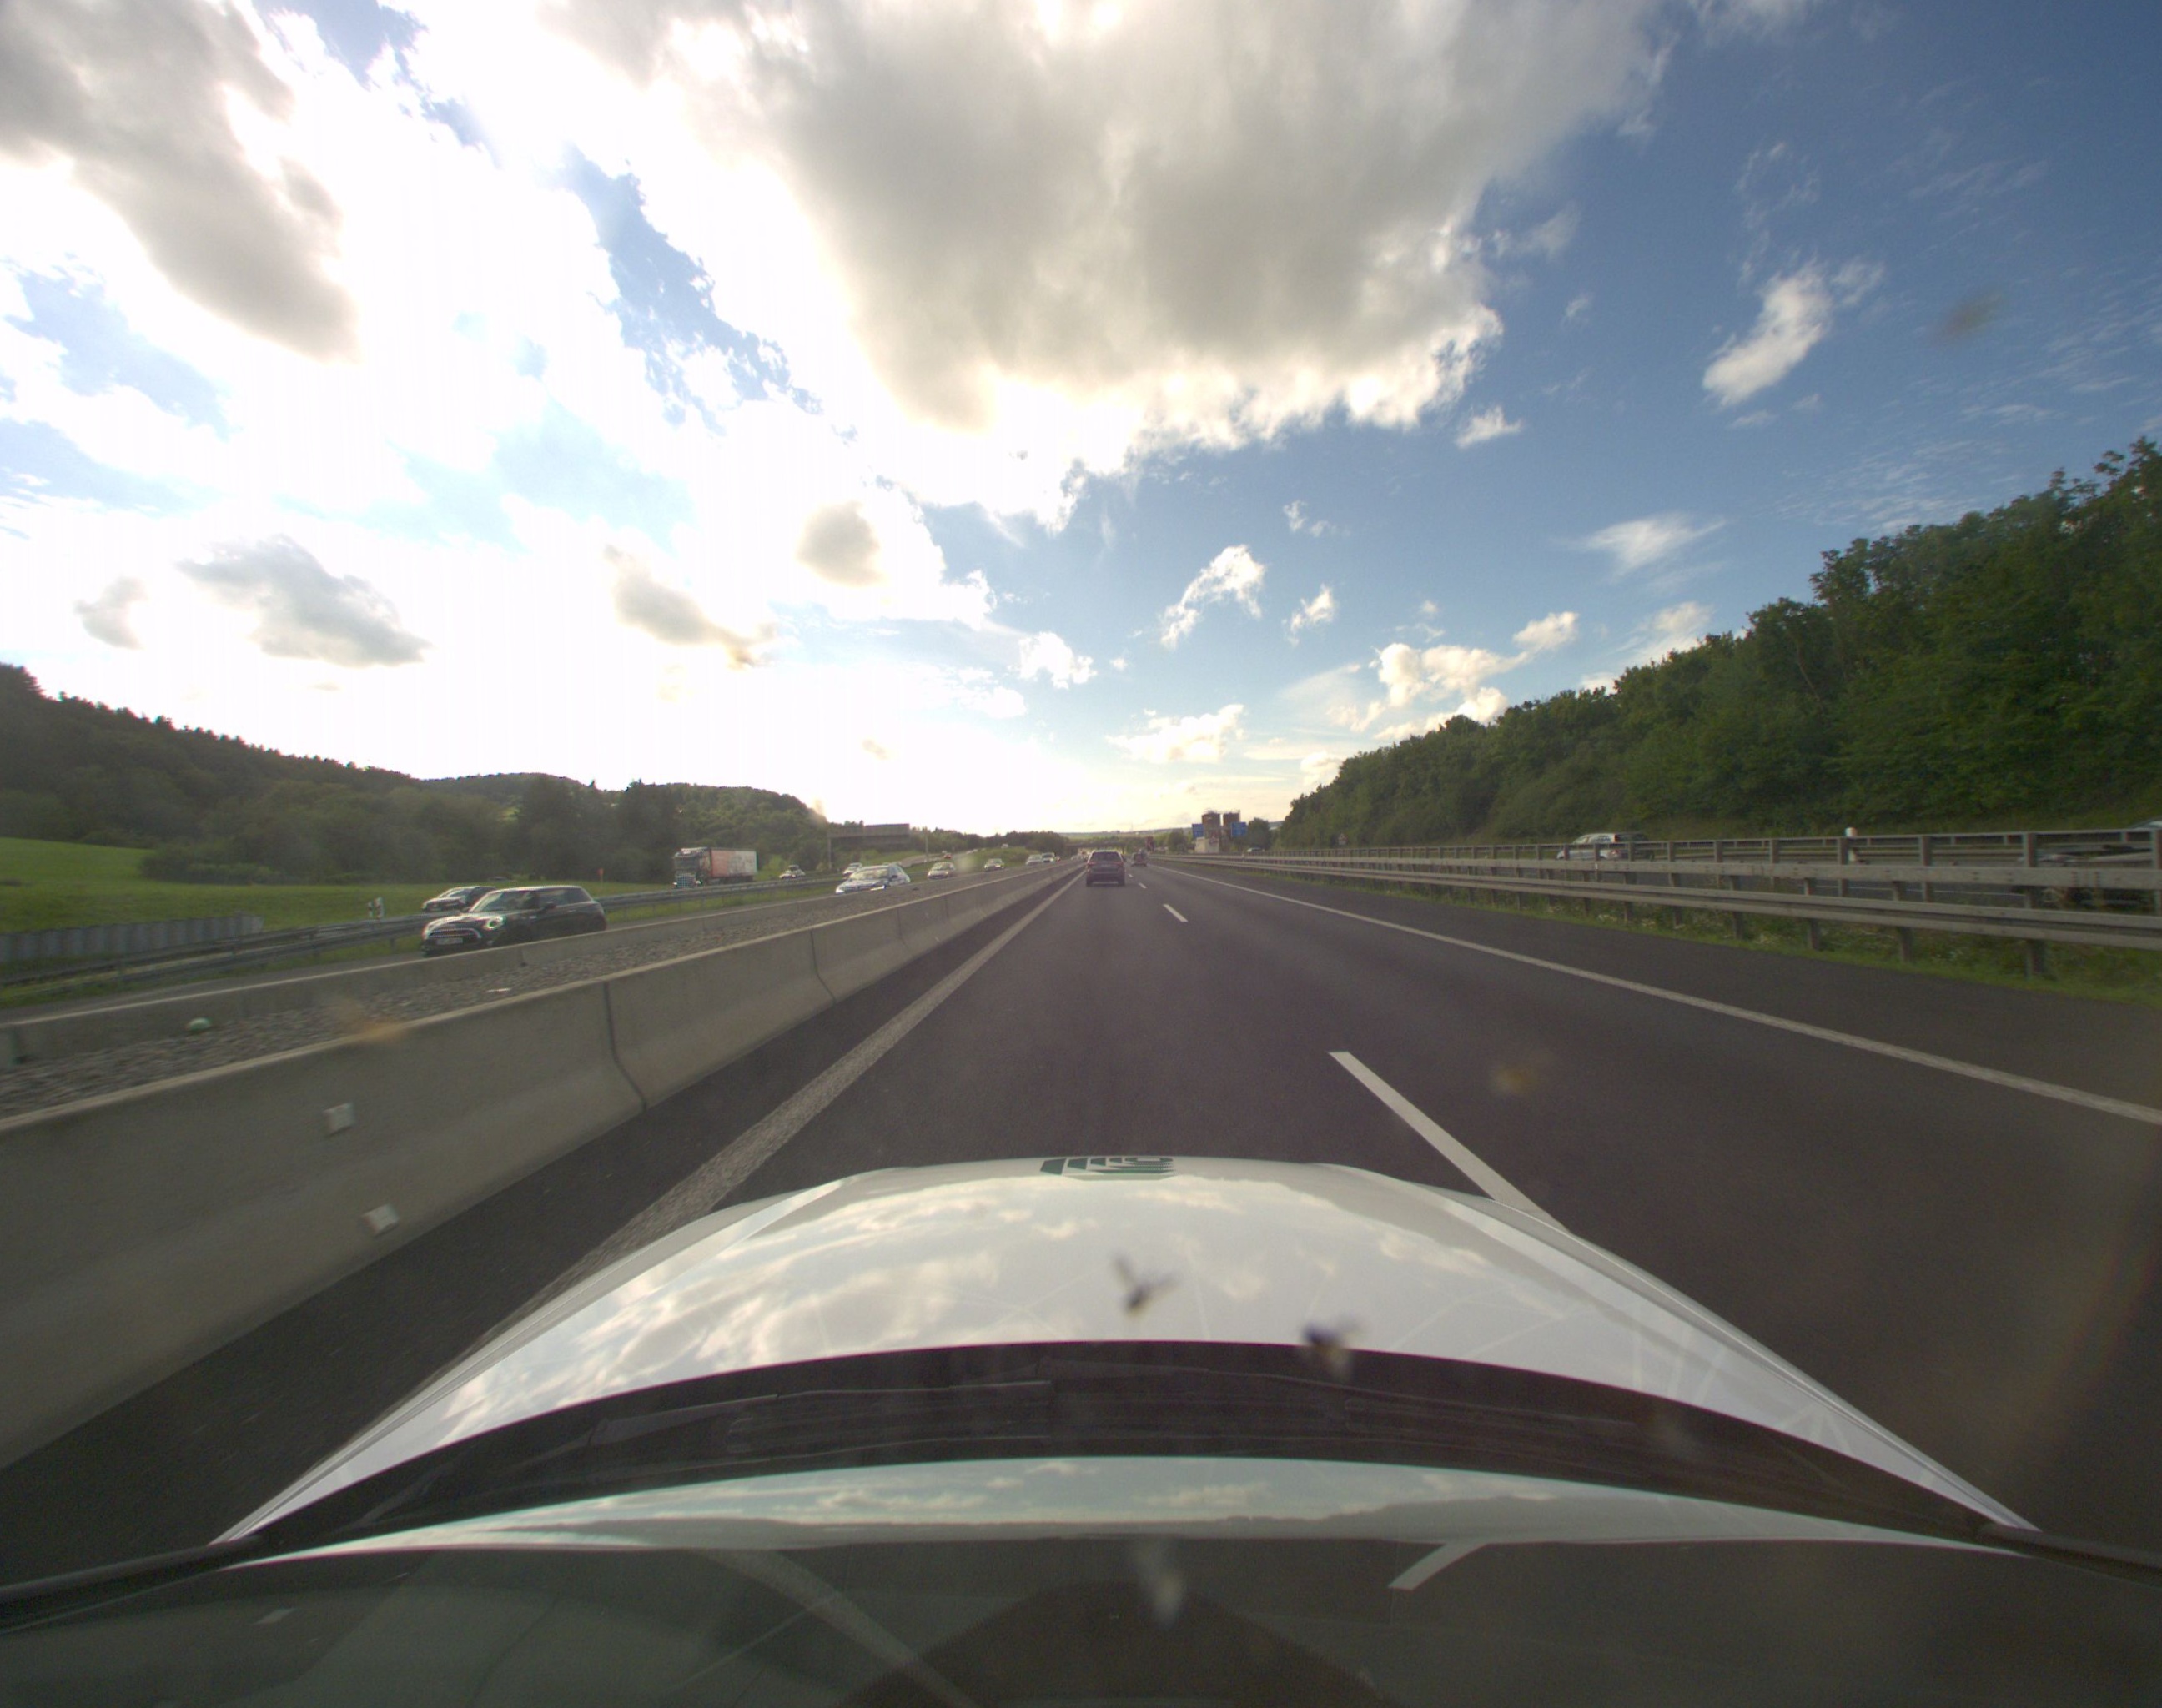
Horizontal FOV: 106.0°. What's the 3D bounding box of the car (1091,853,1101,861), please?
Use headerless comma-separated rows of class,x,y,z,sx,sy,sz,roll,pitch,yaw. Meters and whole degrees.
car,3.817,0.790,203.291,2.160,1.843,4.003,-3,0,3

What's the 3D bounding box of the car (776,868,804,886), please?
car,-33.602,2.624,93.986,1.769,1.897,4.393,-3,0,-3

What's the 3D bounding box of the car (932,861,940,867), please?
car,-40.759,2.756,228.894,1.770,1.400,4.389,-3,0,-6

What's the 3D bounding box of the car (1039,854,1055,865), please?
car,-5.026,0.774,120.715,1.986,1.532,5.749,-3,0,1

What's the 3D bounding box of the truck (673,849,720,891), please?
truck,-36.261,1.459,76.981,1.989,3.761,5.144,-3,0,-3

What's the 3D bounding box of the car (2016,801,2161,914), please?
car,15.113,0.007,10.303,1.987,1.484,4.000,-2,0,1

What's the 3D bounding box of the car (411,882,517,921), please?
car,-30.401,2.305,40.298,1.794,1.618,4.303,-3,0,2

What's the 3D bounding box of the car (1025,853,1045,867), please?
car,-5.565,0.678,99.062,1.986,1.532,5.022,-3,0,1

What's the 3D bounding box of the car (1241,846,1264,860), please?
car,21.612,-0.114,102.814,1.986,1.717,4.001,-3,0,2

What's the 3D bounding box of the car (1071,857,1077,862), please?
car,-1.935,1.557,227.561,1.636,1.398,3.742,-3,0,1

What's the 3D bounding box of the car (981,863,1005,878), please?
car,-9.714,1.819,90.650,1.986,1.532,4.508,-3,0,1

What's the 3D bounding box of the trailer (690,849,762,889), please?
trailer,-36.570,1.515,84.566,1.989,3.737,13.232,-3,0,-2

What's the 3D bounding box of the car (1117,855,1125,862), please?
car,10.193,1.100,209.240,1.968,1.779,4.121,-3,0,1

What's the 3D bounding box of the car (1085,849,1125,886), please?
car,1.217,0.651,39.691,1.742,1.630,3.611,-3,0,3

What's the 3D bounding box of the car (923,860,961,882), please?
car,-10.523,1.267,61.888,1.986,1.456,4.182,-3,0,2

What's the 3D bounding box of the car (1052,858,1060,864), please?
car,-6.689,1.861,219.428,1.721,1.398,4.159,-3,0,1

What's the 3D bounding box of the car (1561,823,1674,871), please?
car,21.686,-0.252,33.149,1.986,1.708,4.001,-3,0,2

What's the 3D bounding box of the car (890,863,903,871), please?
car,-34.300,2.404,151.231,1.770,1.400,4.389,-3,0,-6

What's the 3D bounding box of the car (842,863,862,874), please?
car,-31.462,2.020,111.968,1.770,1.400,4.389,-3,0,-6

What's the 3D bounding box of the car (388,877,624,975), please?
car,-11.926,1.409,17.336,1.794,1.618,4.303,-3,0,2

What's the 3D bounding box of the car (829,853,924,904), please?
car,-7.465,0.832,30.348,1.920,1.618,5.421,-3,0,2

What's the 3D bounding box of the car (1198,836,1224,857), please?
car,23.878,-1.303,149.925,3.563,3.676,7.551,-3,0,2

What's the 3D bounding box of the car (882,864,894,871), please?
car,-38.834,2.743,163.701,1.770,1.400,4.389,-3,0,-6

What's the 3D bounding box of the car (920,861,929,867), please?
car,-38.484,2.463,200.550,1.770,1.400,4.389,-3,0,-6

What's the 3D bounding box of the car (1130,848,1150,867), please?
car,6.827,0.433,94.714,1.986,2.080,4.001,-3,0,2
